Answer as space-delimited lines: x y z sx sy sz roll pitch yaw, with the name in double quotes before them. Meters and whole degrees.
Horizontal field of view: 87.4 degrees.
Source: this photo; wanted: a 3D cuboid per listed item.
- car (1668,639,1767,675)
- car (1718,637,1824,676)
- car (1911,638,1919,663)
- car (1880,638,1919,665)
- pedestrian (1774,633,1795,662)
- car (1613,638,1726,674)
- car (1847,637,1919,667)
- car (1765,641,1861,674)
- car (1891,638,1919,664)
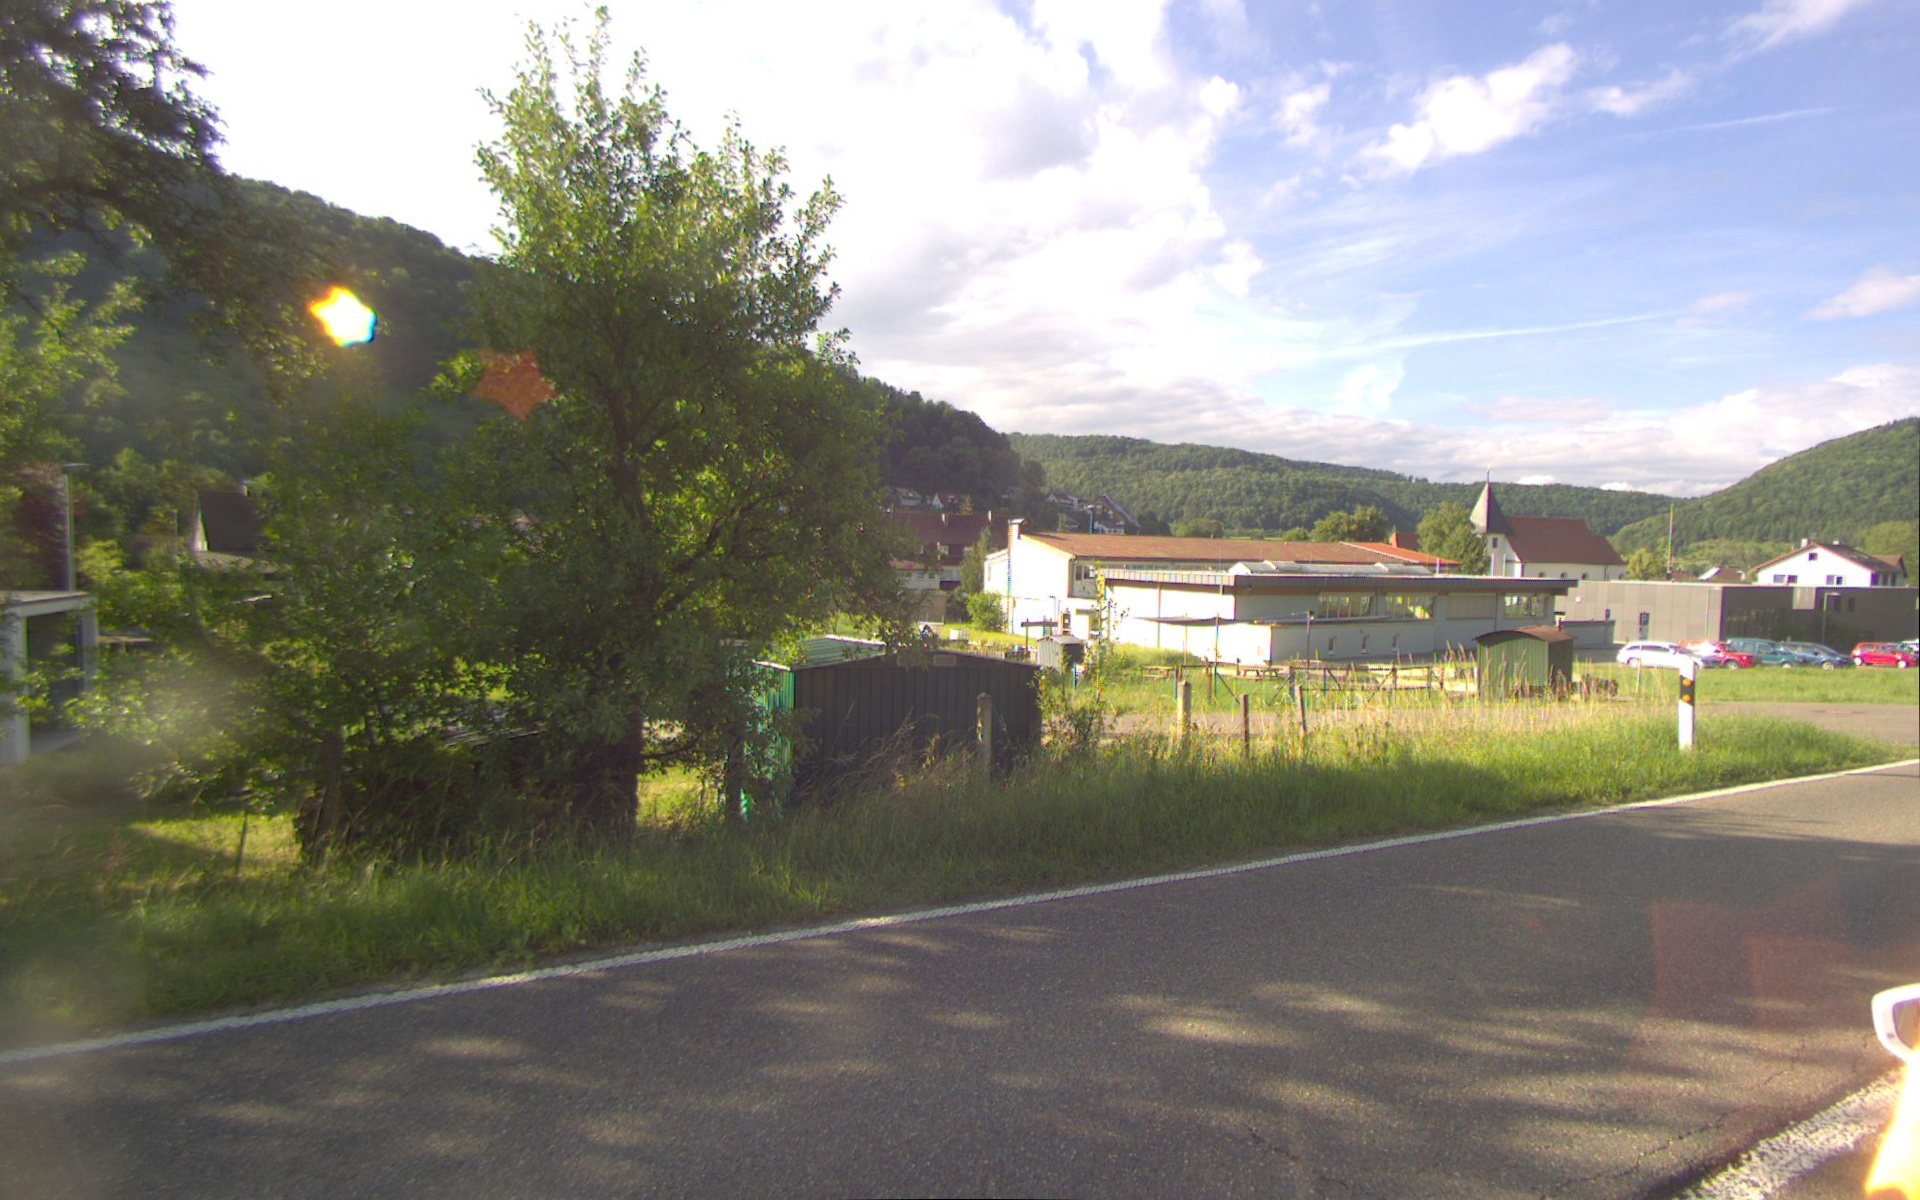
"car" 42.221 3.150 56.041 1.978 1.733 3.965 2 0 -32
"car" 47.314 3.254 58.692 1.978 2.034 4.382 2 0 -32
"car" 70.181 3.682 70.998 1.978 1.733 3.965 2 0 -32
"car" 64.462 3.482 67.175 1.978 1.733 3.965 2 0 -32
"pedestrian" 58.542 3.381 71.305 0.962 2.040 0.821 2 0 -30
"car" 39.120 3.050 55.513 1.978 1.733 4.705 2 0 -32
"car" 60.451 3.346 65.145 1.978 1.733 3.965 2 0 -32
"car" 51.367 3.460 60.548 1.978 1.733 3.965 2 0 -32
"car" 67.340 3.585 69.433 1.978 1.733 3.965 2 0 -32
